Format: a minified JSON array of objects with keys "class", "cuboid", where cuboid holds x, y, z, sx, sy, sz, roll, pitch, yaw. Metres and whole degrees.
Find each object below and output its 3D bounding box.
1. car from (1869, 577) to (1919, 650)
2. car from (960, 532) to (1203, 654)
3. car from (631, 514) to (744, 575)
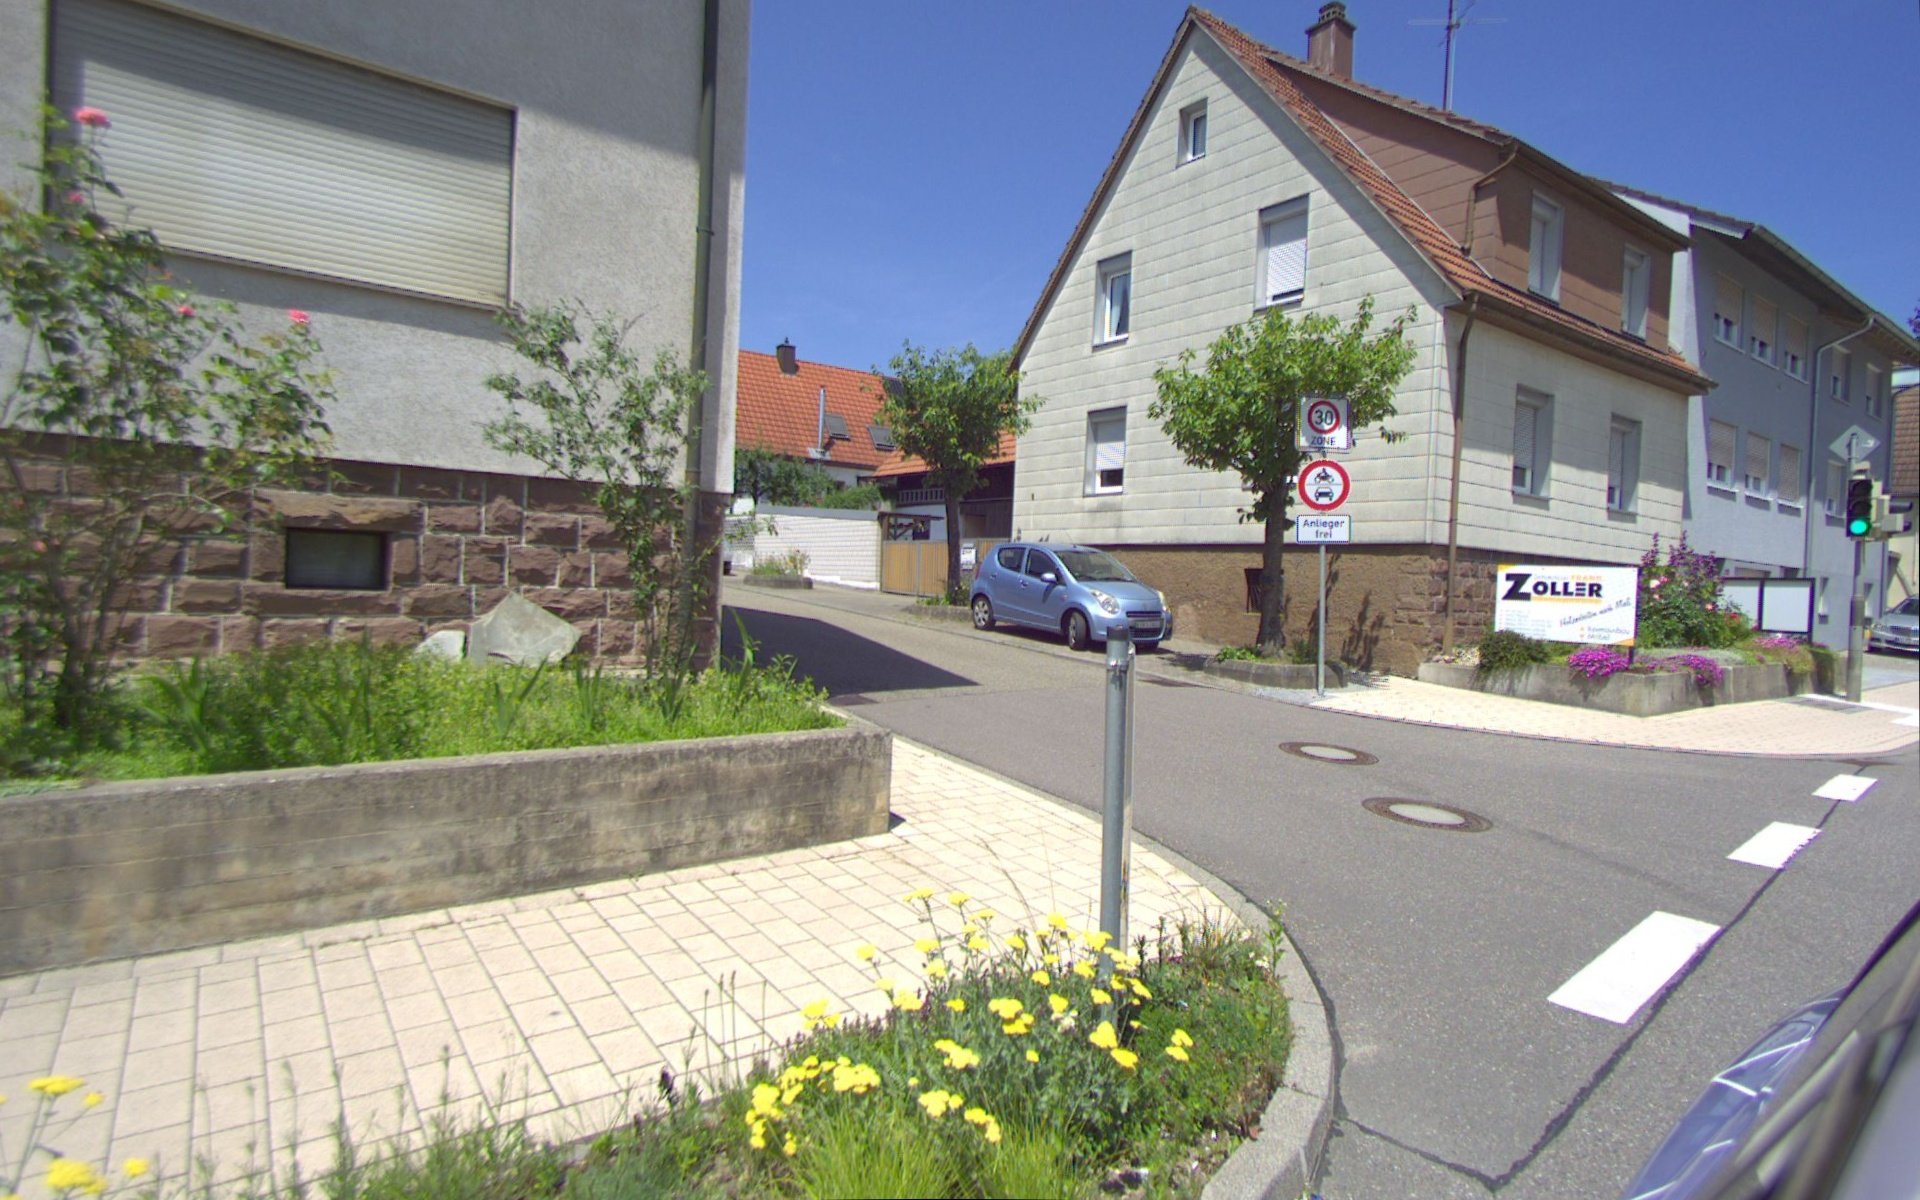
[{"class":"car","cuboid":[24.187,0.324,24.747,4.422,1.640,1.870,0,5,-35]},{"class":"car","cuboid":[1.730,-0.201,15.432,1.765,1.510,3.530,0,5,-34]},{"class":"car","cuboid":[-7.906,-1.636,29.109,1.867,1.599,4.405,0,4,-33]}]
